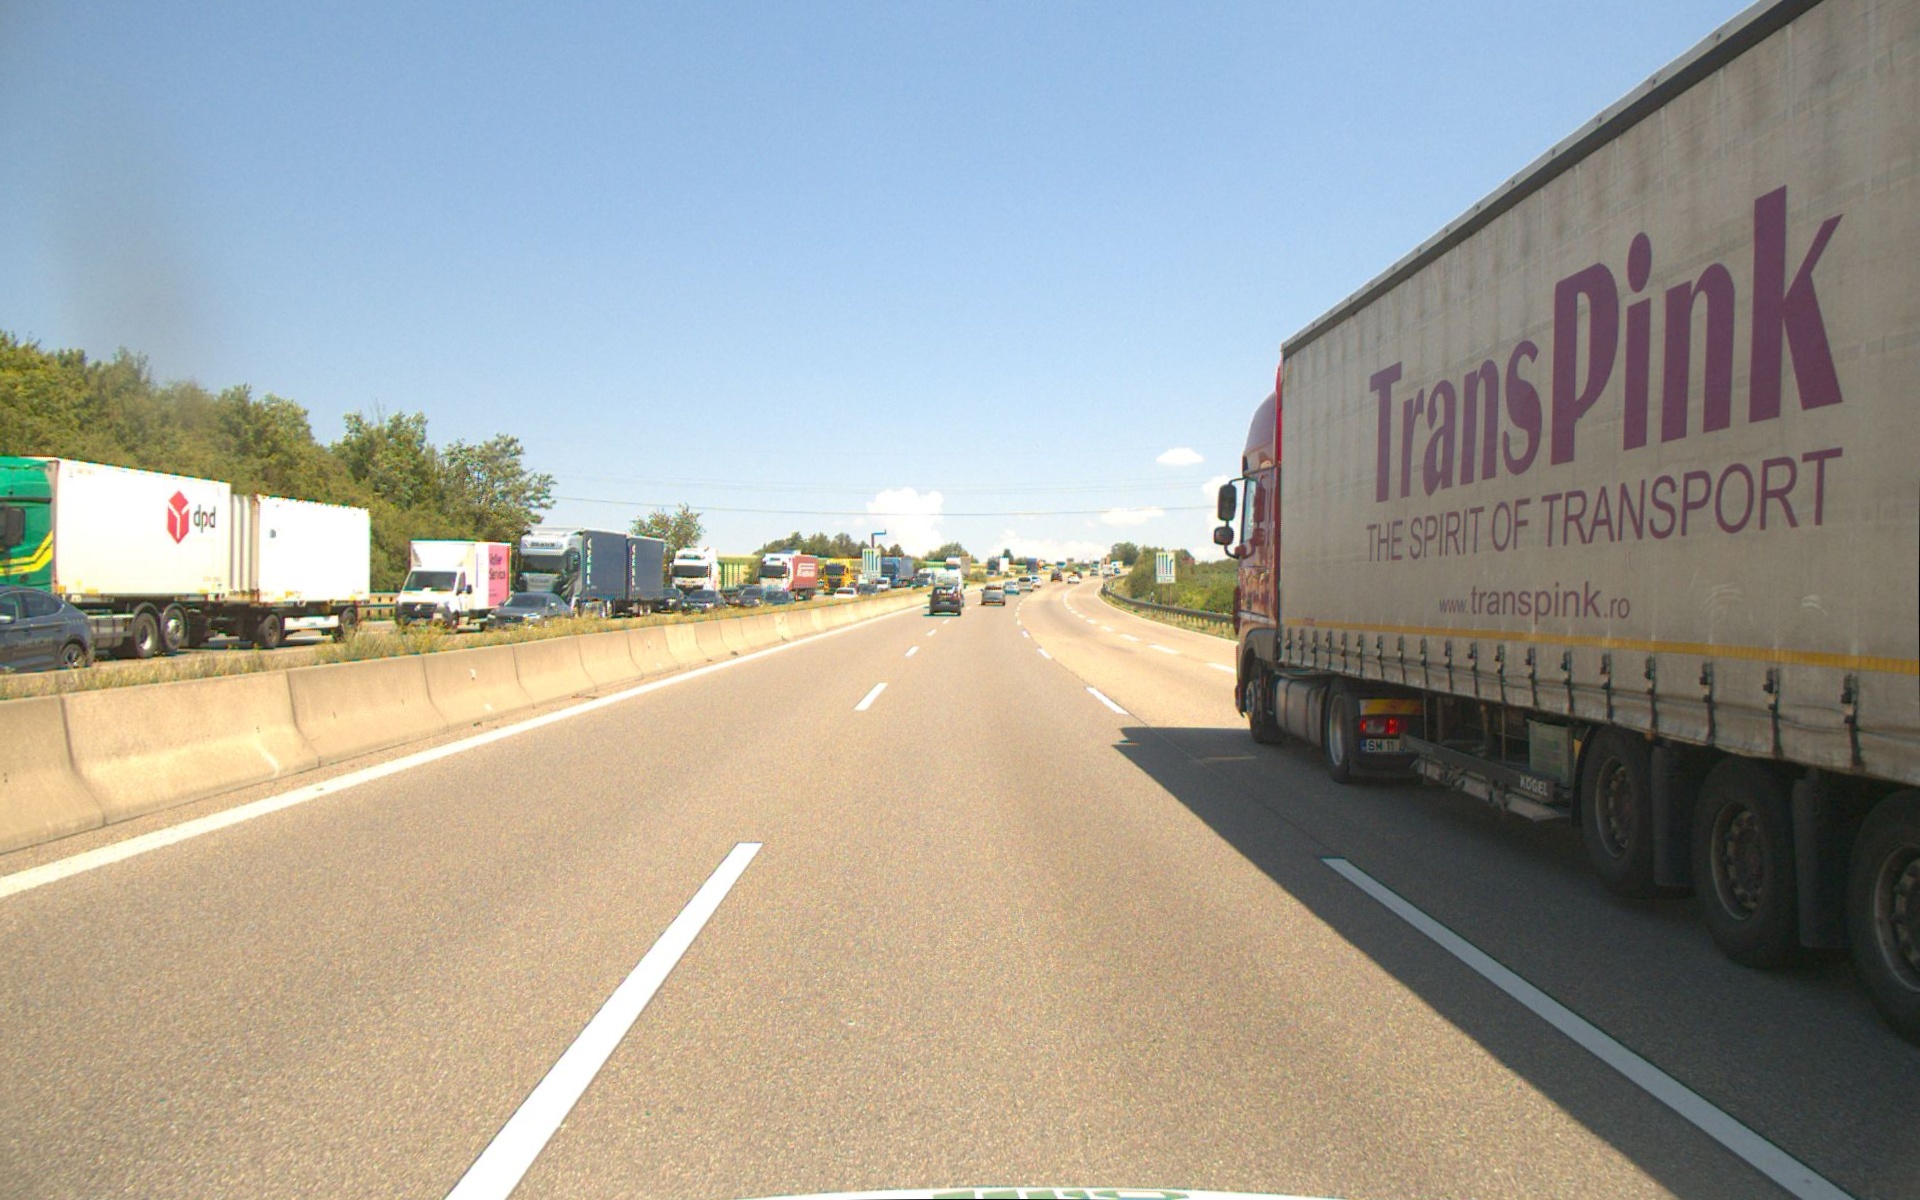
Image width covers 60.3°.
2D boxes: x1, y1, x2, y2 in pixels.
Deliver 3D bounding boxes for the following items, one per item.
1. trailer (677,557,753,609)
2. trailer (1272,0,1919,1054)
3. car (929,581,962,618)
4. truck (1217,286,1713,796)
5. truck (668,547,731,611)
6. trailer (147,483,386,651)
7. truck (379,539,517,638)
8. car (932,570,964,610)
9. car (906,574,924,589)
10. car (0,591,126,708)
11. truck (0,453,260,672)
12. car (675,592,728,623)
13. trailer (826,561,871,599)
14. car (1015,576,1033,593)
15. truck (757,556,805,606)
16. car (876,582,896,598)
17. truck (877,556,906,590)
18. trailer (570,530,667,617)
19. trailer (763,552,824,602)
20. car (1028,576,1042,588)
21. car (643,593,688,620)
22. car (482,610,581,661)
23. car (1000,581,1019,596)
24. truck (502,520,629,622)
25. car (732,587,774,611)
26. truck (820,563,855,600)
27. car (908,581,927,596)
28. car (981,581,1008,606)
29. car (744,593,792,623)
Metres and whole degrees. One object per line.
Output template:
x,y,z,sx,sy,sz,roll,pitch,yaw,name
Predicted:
-16.436,-1.186,112.076,2.798,3.262,12.787,1,1,2,trailer
4.729,-0.490,9.787,2.859,4.189,13.855,1,0,-1,trailer
-0.822,-0.059,92.243,1.810,1.893,4.205,0,2,-1,car
4.613,-0.473,16.667,2.857,4.079,6.509,1,0,-1,truck
-16.657,-1.344,106.126,2.841,3.944,6.180,1,1,2,truck
-18.605,-0.842,45.091,2.860,4.143,8.231,-1,0,1,trailer
-18.039,-0.423,58.821,2.486,3.263,7.589,1,0,0,truck
-0.836,-0.672,115.658,2.135,2.671,4.671,1,-2,0,car
-6.807,-2.829,248.999,2.157,2.032,4.488,2,2,5,car
-14.560,0.723,24.508,1.823,1.670,5.112,0,-2,-1,car
-18.746,-0.711,35.235,2.784,3.967,11.248,-1,0,0,truck
-13.444,0.361,86.254,1.952,1.554,4.773,1,0,1,car
-12.594,-2.313,187.509,2.890,4.172,14.391,1,1,5,trailer
7.805,-1.915,200.974,1.953,1.937,3.998,1,-1,-2,car
-15.191,-1.627,140.664,2.972,4.153,6.318,1,1,3,truck
-8.347,-1.123,187.221,1.874,1.803,4.763,1,1,1,car
-9.235,-3.735,224.925,2.725,4.410,10.656,2,2,4,truck
-17.563,-1.346,85.698,2.924,4.266,8.597,0,0,2,trailer
-14.727,-2.054,147.729,3.021,4.172,14.389,1,1,4,trailer
10.487,-2.533,230.997,1.952,1.579,4.002,2,2,2,car
-16.938,0.360,95.308,1.622,1.456,4.649,0,0,1,car
-14.428,1.160,56.001,1.953,1.572,5.494,0,0,0,car
5.401,-1.209,180.152,1.952,1.613,4.001,0,0,3,car
-17.905,-1.293,75.889,2.939,4.308,10.736,0,1,2,truck
-13.138,-0.089,105.329,1.952,1.481,5.171,0,0,1,car
-13.335,-2.053,180.340,2.693,3.904,7.103,1,1,5,truck
-5.119,-1.434,198.602,2.006,1.725,5.257,1,1,1,car
2.645,-0.499,126.556,1.952,1.781,4.000,1,-2,1,car
-10.335,0.404,89.351,1.952,1.554,4.773,1,0,1,car
